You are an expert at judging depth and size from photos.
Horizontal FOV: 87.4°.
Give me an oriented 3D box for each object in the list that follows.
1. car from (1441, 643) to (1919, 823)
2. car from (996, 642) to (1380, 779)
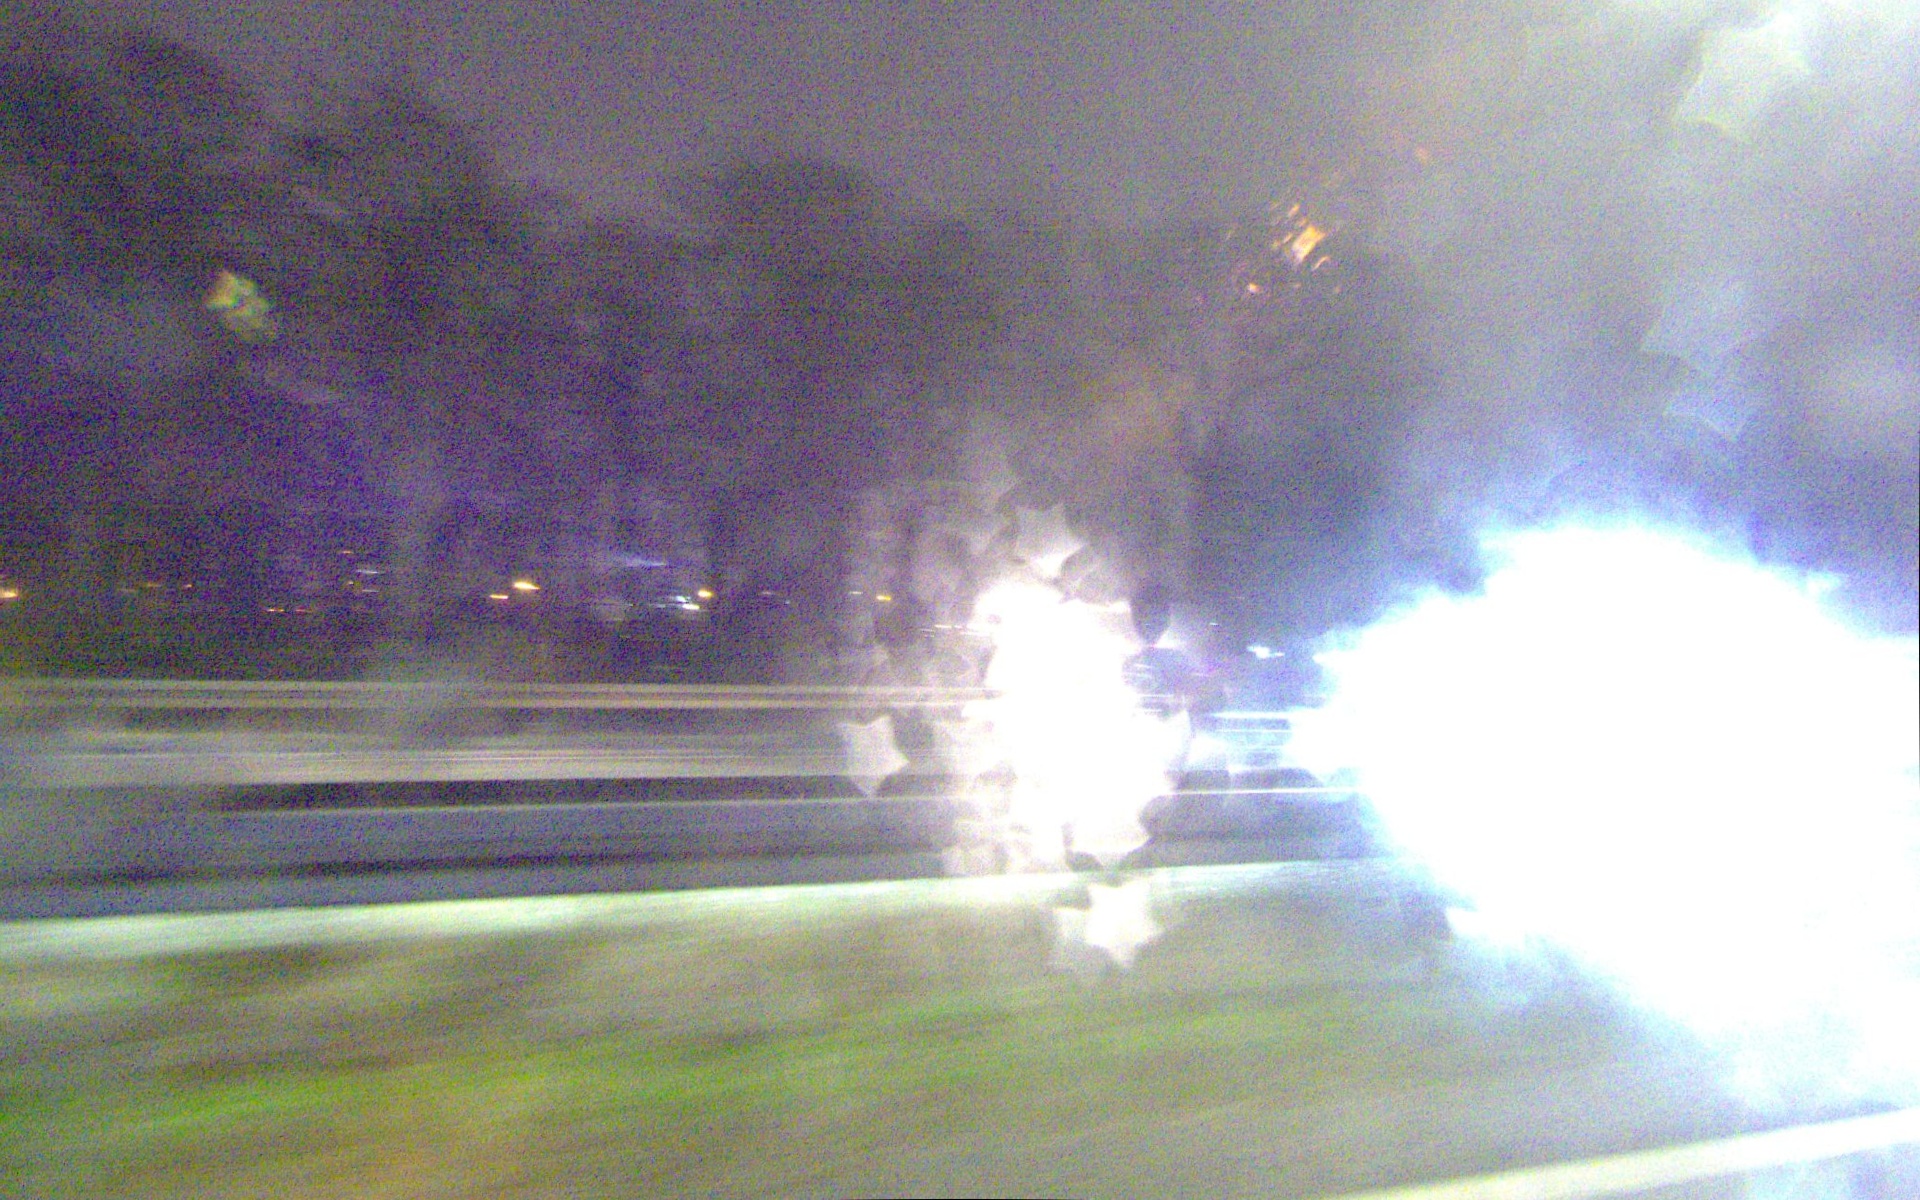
[{"bbox_3d":[7.081,1.175,9.535,4.669,1.400,1.610,2,-1,-17],"label":"car"},{"bbox_3d":[2.606,1.238,11.646,4.096,1.399,1.611,2,-3,-16],"label":"car"}]
